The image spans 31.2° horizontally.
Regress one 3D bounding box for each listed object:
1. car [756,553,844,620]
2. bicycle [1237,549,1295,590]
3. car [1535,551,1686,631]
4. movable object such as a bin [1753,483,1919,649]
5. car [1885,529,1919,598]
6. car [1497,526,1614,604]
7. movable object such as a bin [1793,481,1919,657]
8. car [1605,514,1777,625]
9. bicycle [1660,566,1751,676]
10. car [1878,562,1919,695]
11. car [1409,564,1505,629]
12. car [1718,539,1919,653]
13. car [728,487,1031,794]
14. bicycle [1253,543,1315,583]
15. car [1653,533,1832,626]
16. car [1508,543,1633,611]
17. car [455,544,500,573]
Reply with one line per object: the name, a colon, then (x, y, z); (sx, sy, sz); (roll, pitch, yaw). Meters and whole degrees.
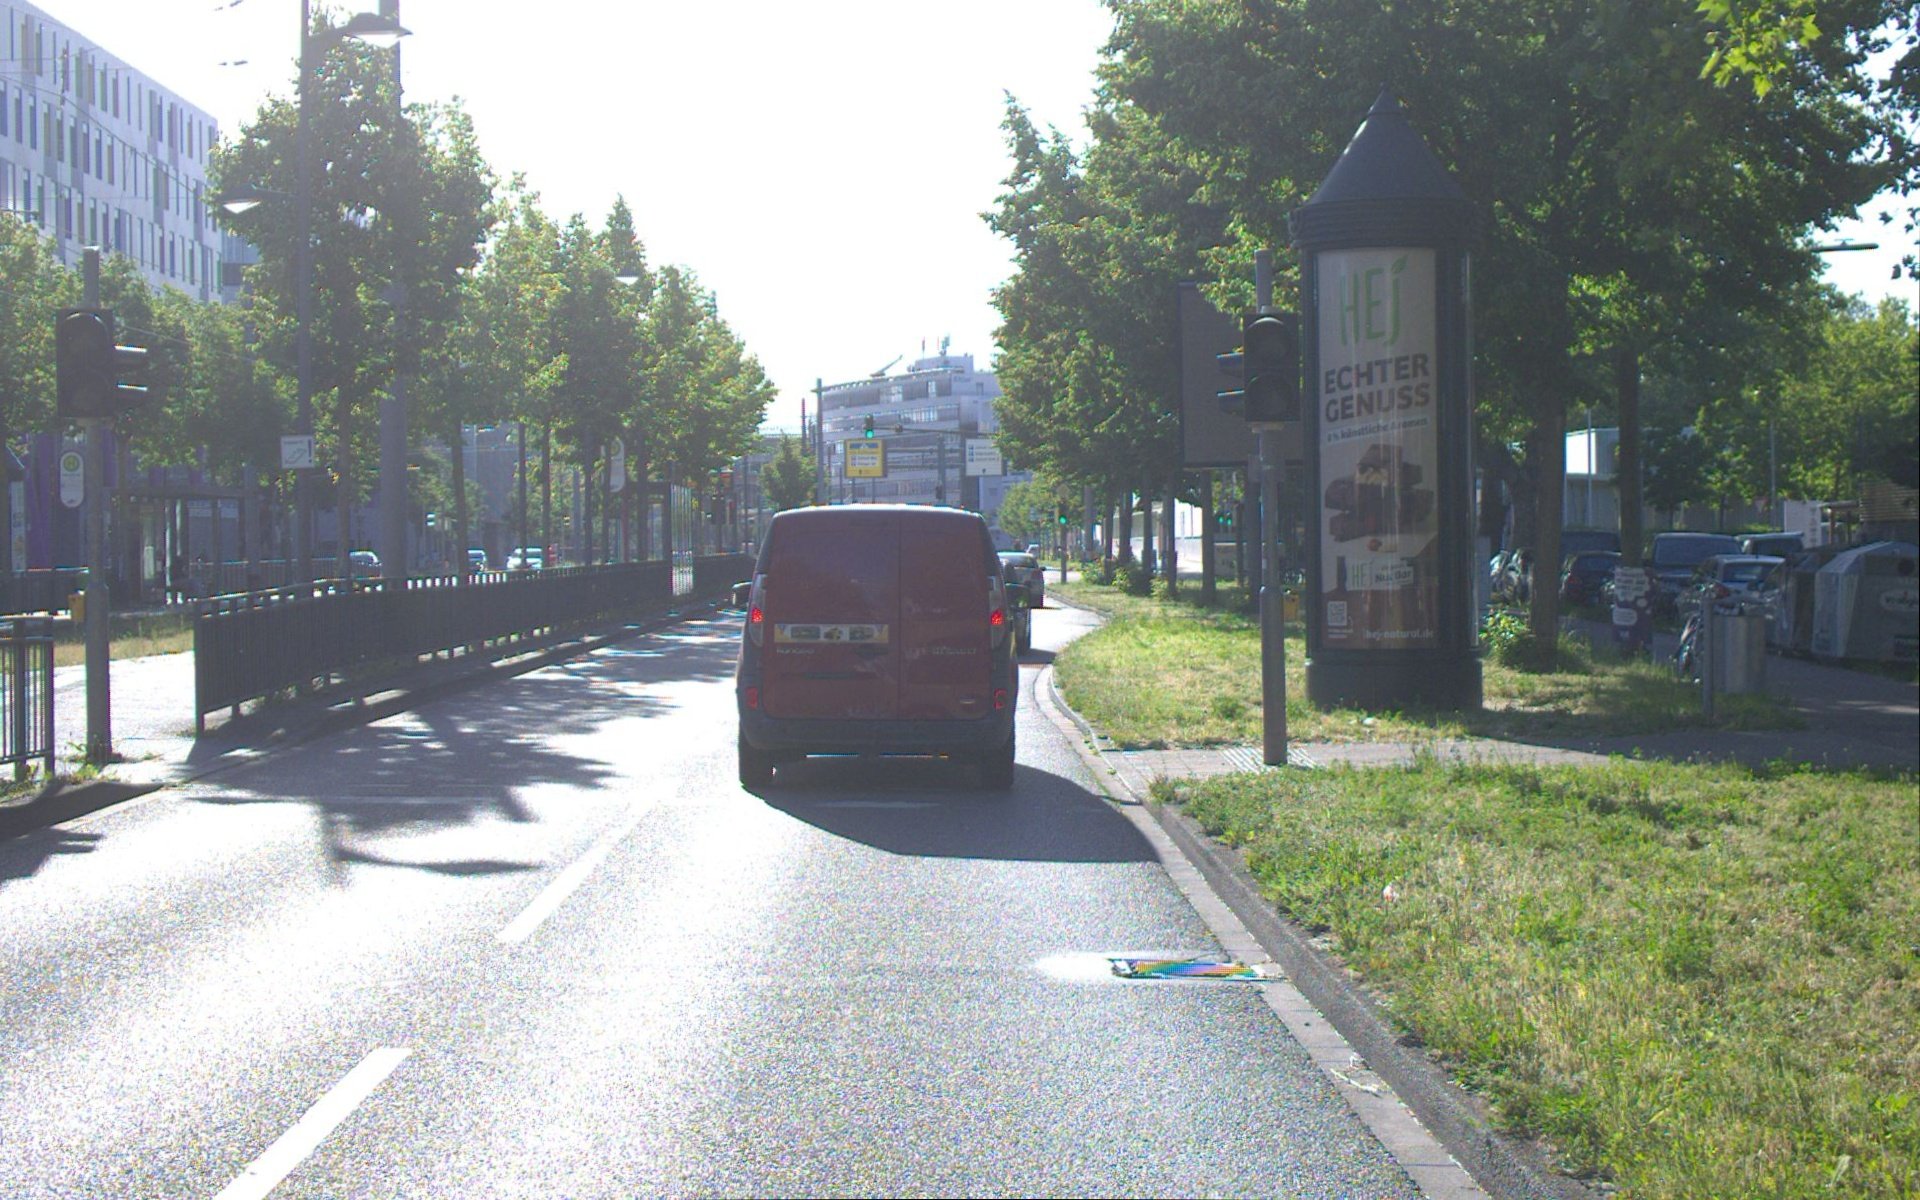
car: (-3.993, -0.353, 86.305); (1.993, 1.612, 4.000); (1, 0, 0)
bicycle: (9.788, -0.971, 109.913); (1.778, 1.264, 0.479); (1, 0, 1)
car: (12.339, -0.189, 65.523); (1.871, 1.429, 4.902); (1, 0, -1)
movable object such as a bin: (11.250, -0.424, 43.324); (2.081, 2.007, 2.136); (1, 0, 4)
car: (22.435, -0.857, 77.638); (1.871, 1.541, 4.690); (-2, 0, 1)
car: (13.419, -0.785, 77.701); (1.871, 1.678, 4.000); (1, 0, -1)
movable object such as a bin: (11.099, -0.353, 40.561); (2.081, 2.007, 2.136); (1, 0, 4)
car: (12.671, -0.531, 59.913); (1.871, 1.814, 4.893); (1, 0, -1)
bicycle: (7.328, 0.196, 33.852); (0.493, 1.043, 1.904); (1, 0, 1)
car: (10.980, 0.312, 35.668); (2.000, 1.380, 4.744); (1, 0, 5)
car: (13.349, -0.104, 92.485); (1.871, 1.678, 4.000); (-1, 1, -1)
car: (12.421, -0.072, 49.362); (1.871, 1.519, 5.056); (1, 0, -1)
car: (-0.604, 0.228, 22.917); (1.808, 1.831, 4.001); (1, 0, -3)
bicycle: (10.226, -1.164, 108.634); (1.918, 1.264, 0.479); (0, 1, 1)
car: (12.365, -0.330, 54.550); (1.871, 1.384, 4.000); (1, 0, -1)
car: (12.856, -0.488, 72.609); (1.871, 1.363, 4.000); (1, 0, -1)
car: (-30.304, -2.580, 216.046); (1.994, 1.758, 3.999); (1, 0, 4)
